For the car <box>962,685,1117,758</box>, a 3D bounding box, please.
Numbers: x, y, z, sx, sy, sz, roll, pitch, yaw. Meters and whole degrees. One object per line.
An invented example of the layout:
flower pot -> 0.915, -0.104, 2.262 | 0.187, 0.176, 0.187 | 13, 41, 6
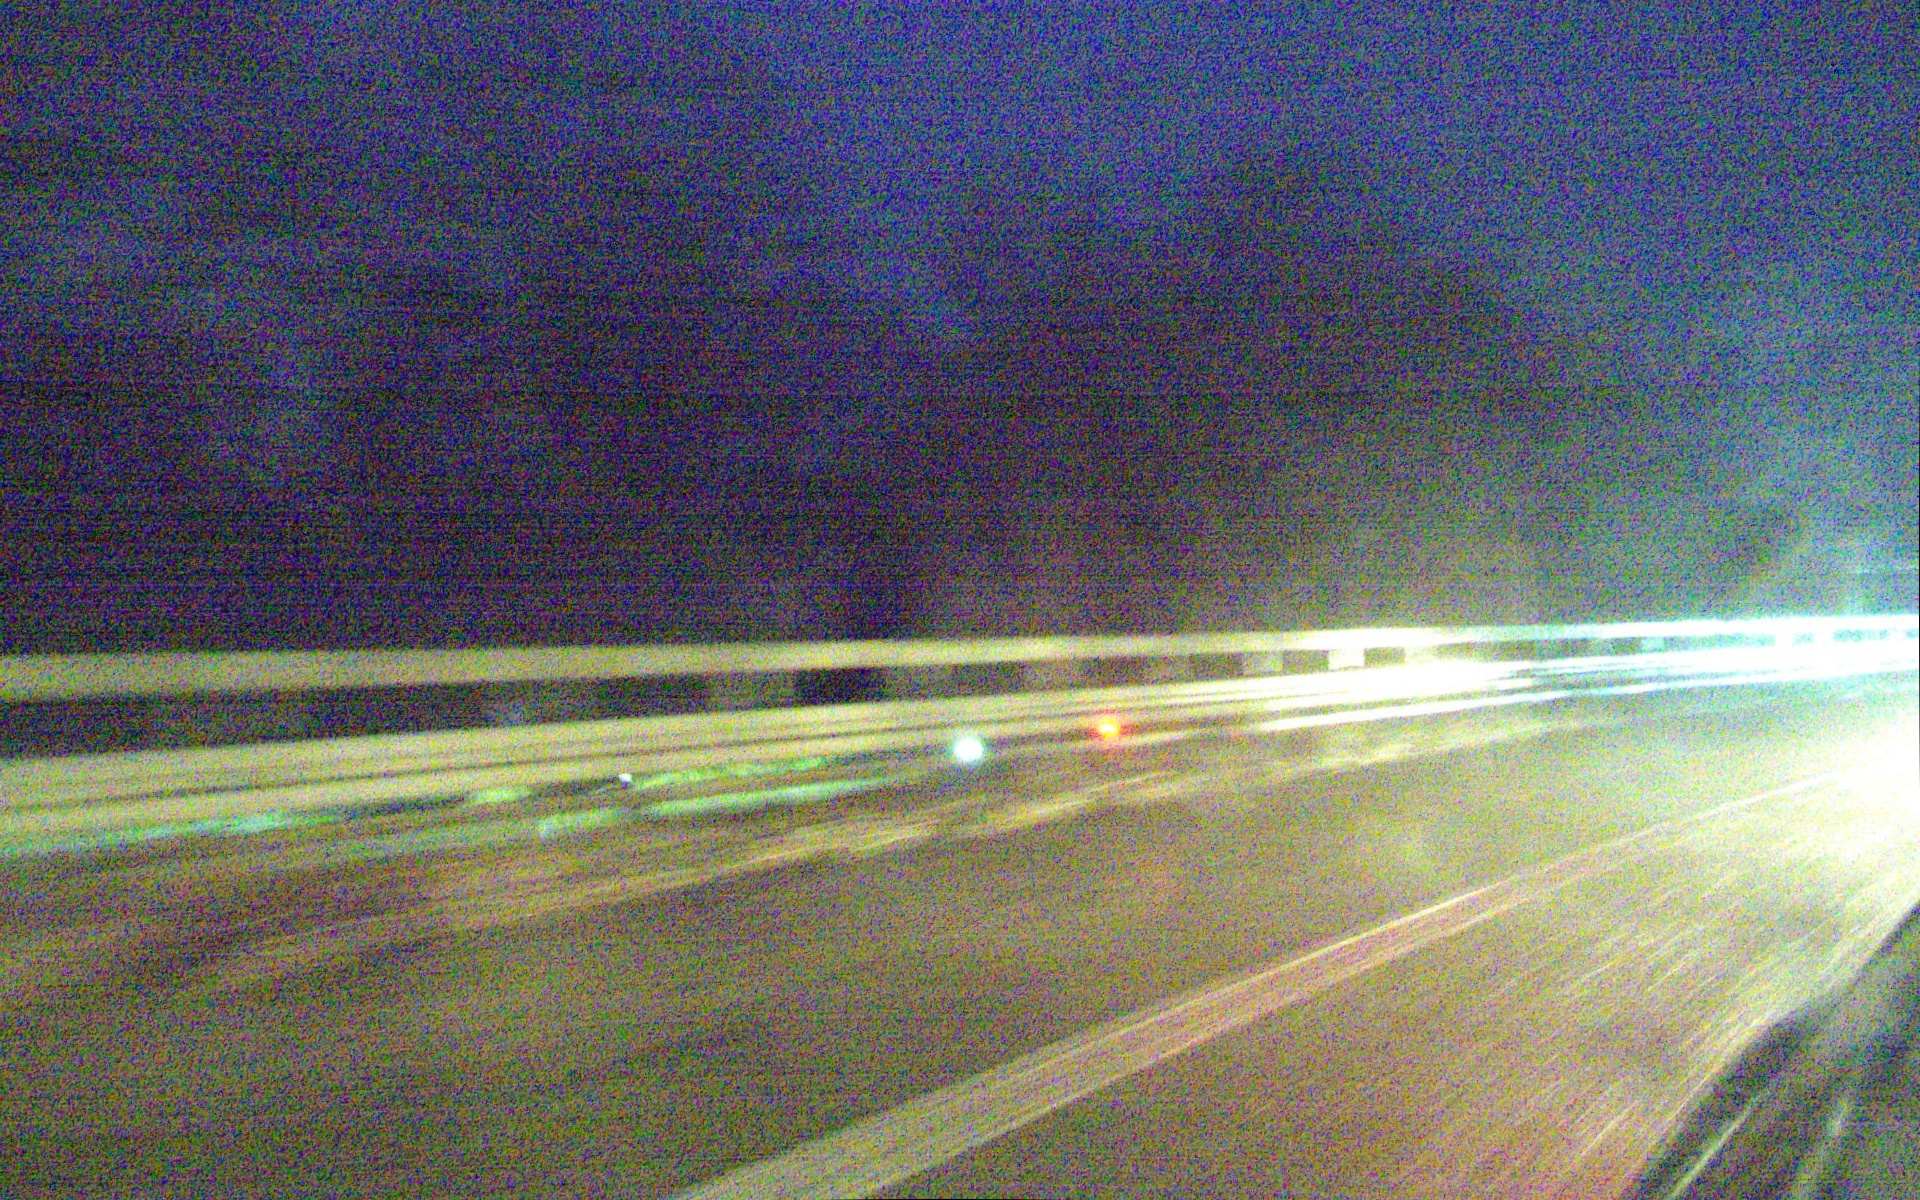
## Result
car -> 2.143, 3.359, 28.279 | 4.040, 1.706, 1.742 | -3, -3, -2
